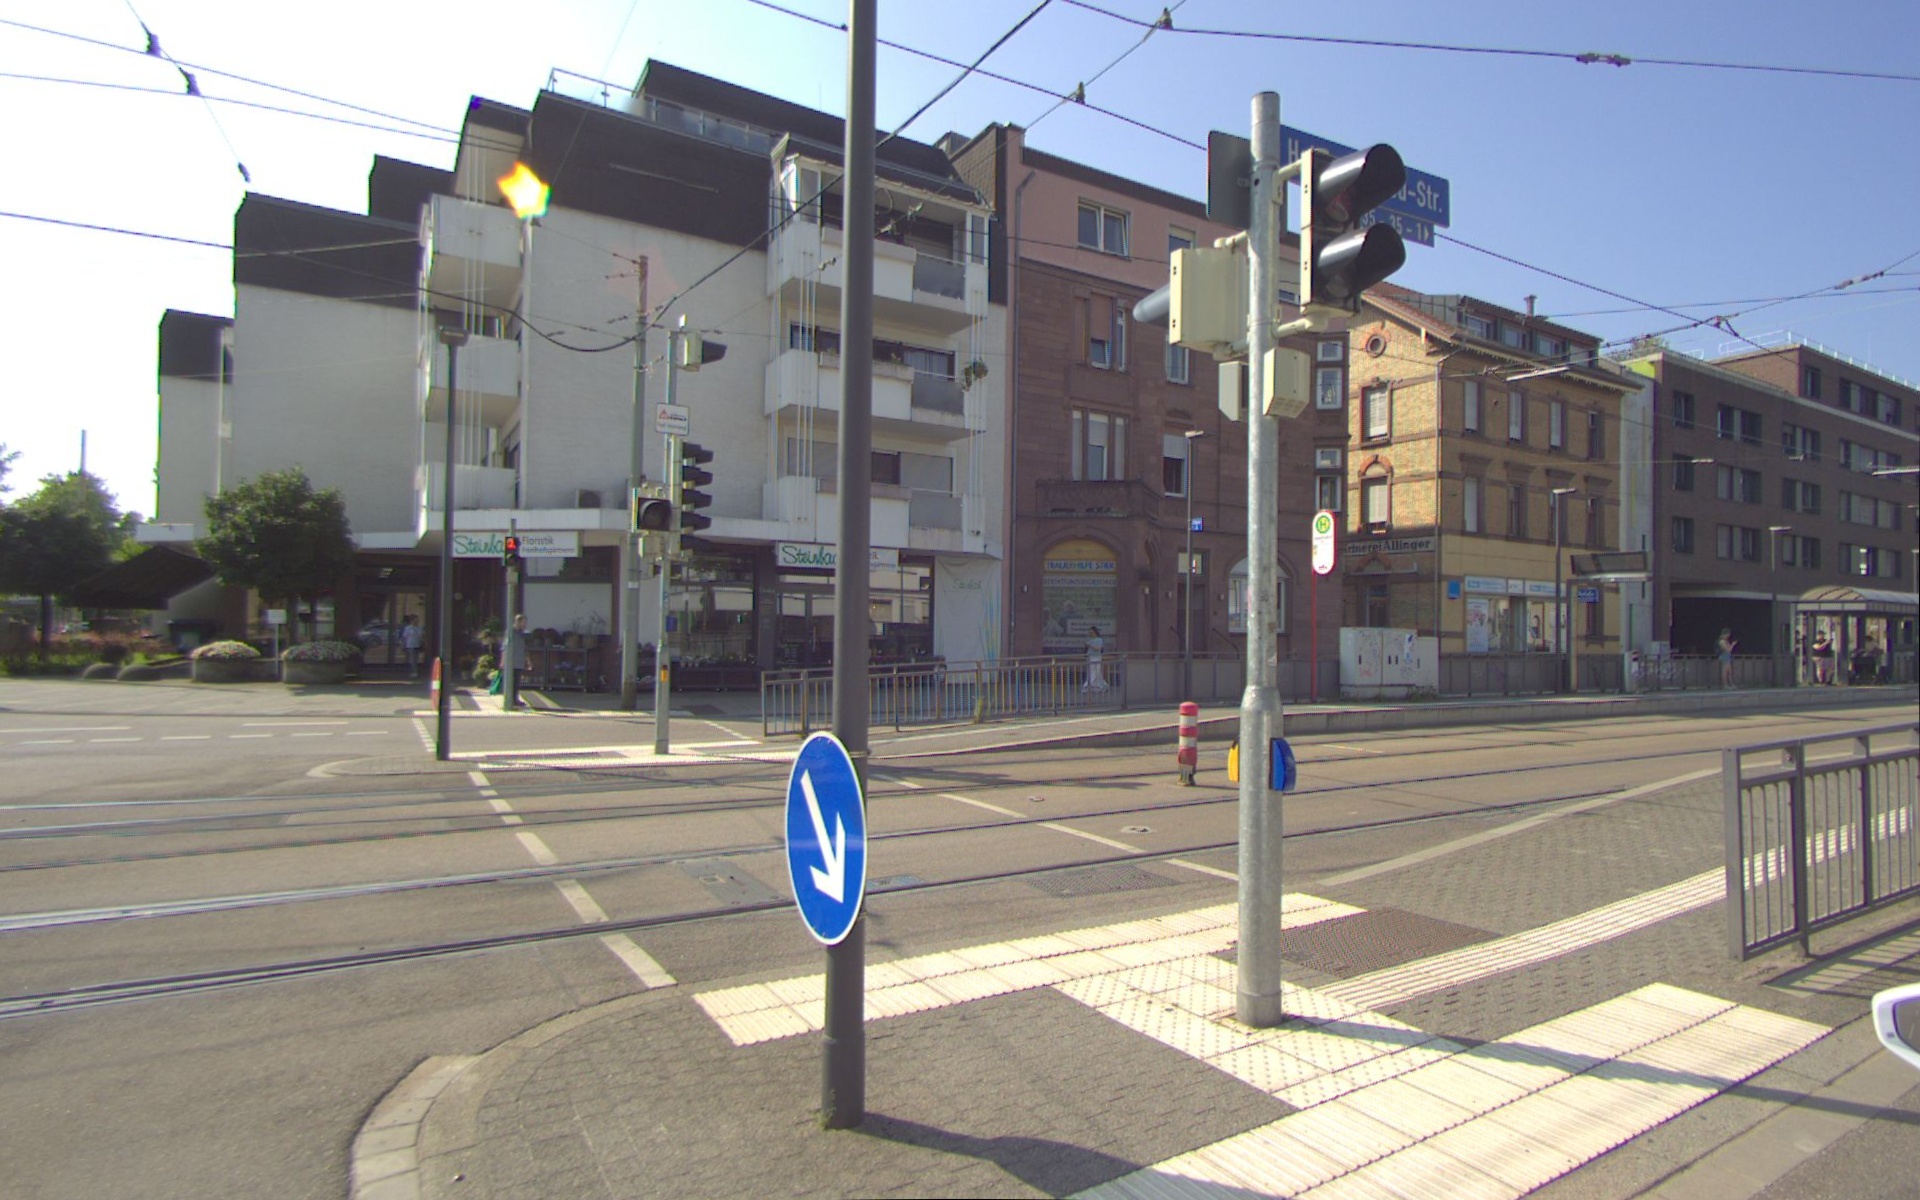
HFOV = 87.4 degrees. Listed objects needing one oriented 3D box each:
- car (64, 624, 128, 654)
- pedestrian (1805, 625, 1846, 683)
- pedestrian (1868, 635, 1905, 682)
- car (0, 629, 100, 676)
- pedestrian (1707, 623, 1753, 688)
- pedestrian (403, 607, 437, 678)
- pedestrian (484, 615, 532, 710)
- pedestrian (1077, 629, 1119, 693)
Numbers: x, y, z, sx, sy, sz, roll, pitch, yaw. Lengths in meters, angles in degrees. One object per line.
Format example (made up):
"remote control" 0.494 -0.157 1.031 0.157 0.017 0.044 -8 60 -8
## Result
"car" -51.173 2.365 59.578 1.976 1.674 3.971 2 -4 -28
"pedestrian" 26.717 1.670 31.006 0.790 1.770 0.704 2 -4 -30
"pedestrian" 29.754 1.886 32.270 0.528 1.487 0.696 3 -4 -28
"car" -33.008 1.879 36.542 1.908 1.527 4.088 2 -2 -31
"pedestrian" 21.148 1.535 27.594 0.790 1.746 0.704 2 -4 -30
"pedestrian" -13.752 1.089 25.588 0.690 1.763 0.676 2 -4 -32
"pedestrian" -8.574 1.188 19.063 0.589 1.768 0.566 -1 -3 26
"pedestrian" 3.488 1.538 25.438 0.874 1.580 0.482 3 -1 -20
